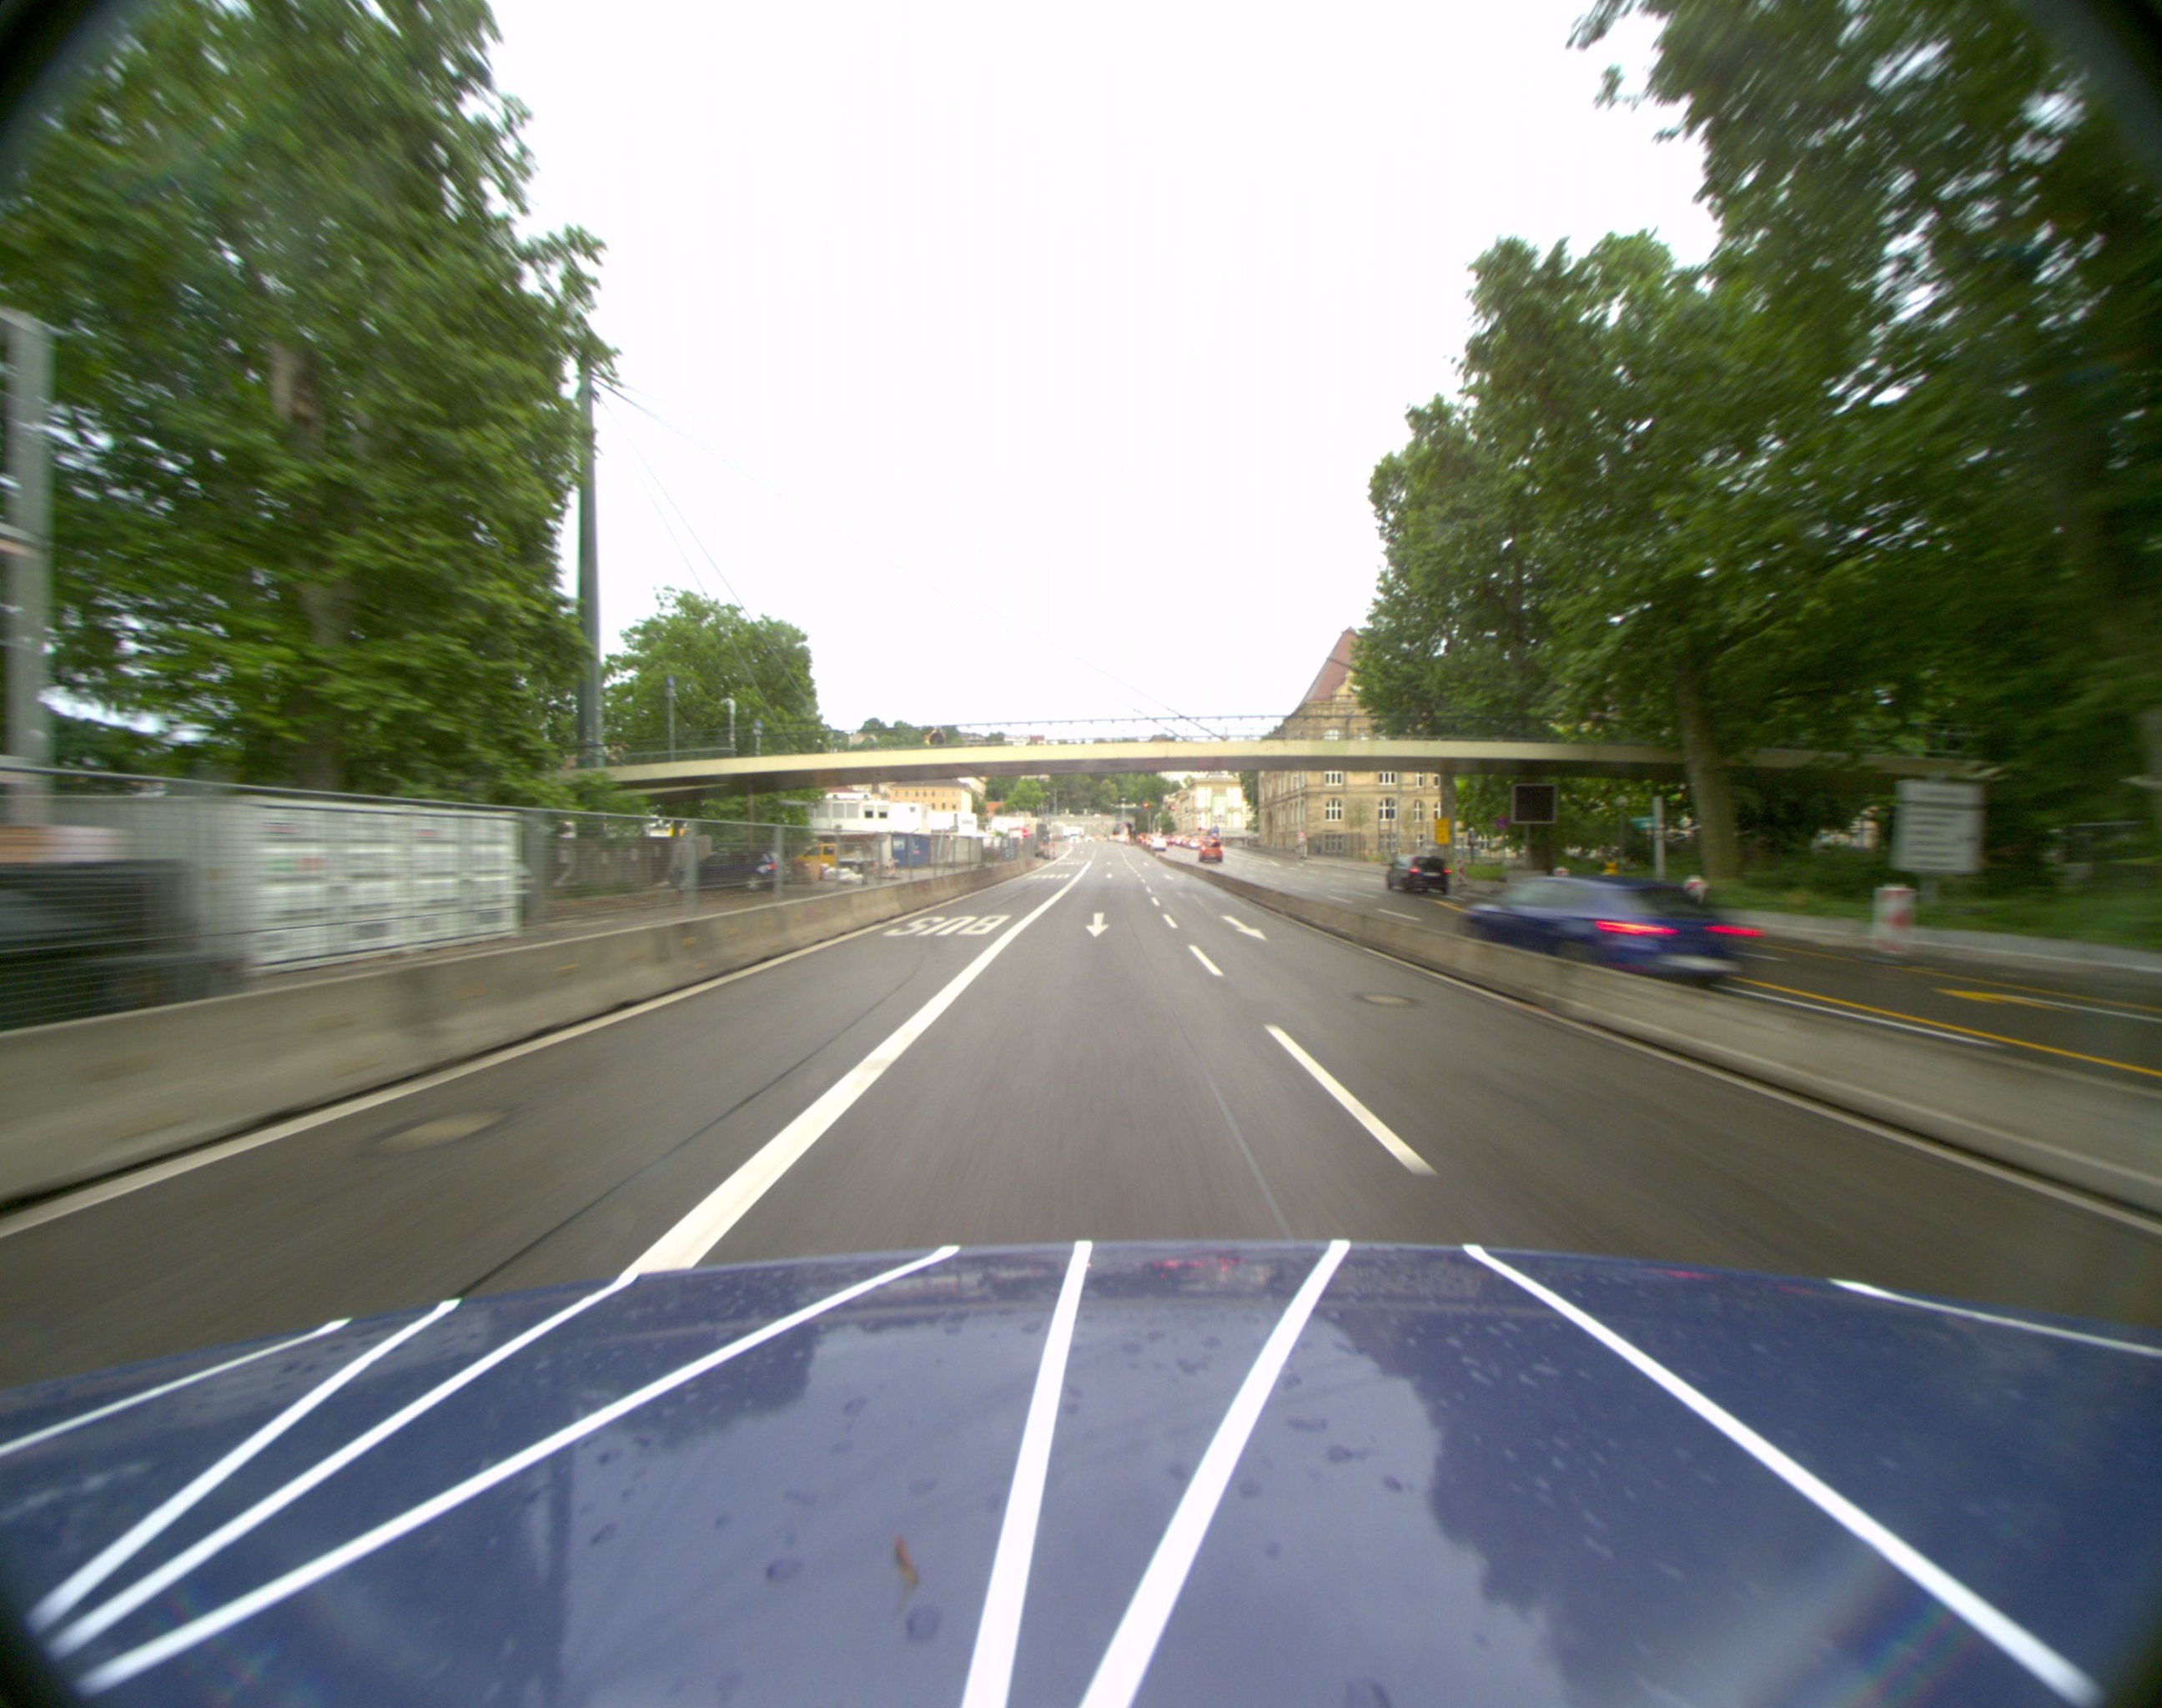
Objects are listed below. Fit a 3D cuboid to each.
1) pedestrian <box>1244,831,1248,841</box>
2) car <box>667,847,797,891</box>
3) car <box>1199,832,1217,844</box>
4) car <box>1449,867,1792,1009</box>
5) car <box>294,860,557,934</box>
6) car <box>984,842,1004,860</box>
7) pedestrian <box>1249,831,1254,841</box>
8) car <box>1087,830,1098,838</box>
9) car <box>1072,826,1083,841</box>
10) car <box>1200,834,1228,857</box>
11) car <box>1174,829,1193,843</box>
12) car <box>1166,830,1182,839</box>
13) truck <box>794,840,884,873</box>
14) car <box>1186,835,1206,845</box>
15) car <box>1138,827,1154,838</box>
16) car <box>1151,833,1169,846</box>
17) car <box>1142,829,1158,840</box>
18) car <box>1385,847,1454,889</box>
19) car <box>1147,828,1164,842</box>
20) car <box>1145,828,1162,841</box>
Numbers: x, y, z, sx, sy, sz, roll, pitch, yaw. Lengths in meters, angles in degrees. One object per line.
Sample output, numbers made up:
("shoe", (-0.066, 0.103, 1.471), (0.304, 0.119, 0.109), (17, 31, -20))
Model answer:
("pedestrian", (27.825, -3.080, 128.065), (0.618, 1.576, 0.734), (2, 3, 2))
("car", (-14.680, 0.607, 32.163), (4.511, 1.718, 1.999), (-1, 2, -3))
("car", (22.158, -2.792, 132.489), (2.000, 2.003, 3.995), (1, 3, -6))
("car", (6.924, 0.966, 10.399), (1.716, 1.331, 4.060), (3, 1, -1))
("car", (-15.166, 0.959, 17.764), (4.554, 1.619, 1.787), (0, 0, 0))
("car", (-8.779, -0.352, 77.010), (1.856, 1.477, 3.994), (1, 5, -5))
("pedestrian", (28.679, -3.014, 127.744), (0.618, 1.576, 0.734), (1, 3, -5))
("car", (2.614, -4.541, 169.781), (2.000, 1.562, 3.995), (1, 3, -7))
("car", (-0.997, -6.124, 224.268), (2.836, 3.992, 8.722), (2, 3, 2))
("car", (12.365, -0.829, 71.118), (2.035, 1.926, 5.043), (2, 3, 4))
("car", (16.178, -2.868, 120.267), (2.000, 2.003, 3.995), (1, 3, -6))
("car", (15.434, -3.273, 126.183), (1.999, 1.375, 4.209), (1, 3, -2))
("truck", (-15.788, 0.118, 49.811), (5.169, 2.003, 2.407), (0, 3, -5))
("car", (16.925, -2.111, 112.291), (1.999, 1.375, 4.208), (1, 3, -4))
("car", (10.967, -3.650, 128.315), (1.999, 1.559, 5.378), (2, 3, -1))
("car", (10.517, -1.972, 101.690), (1.898, 1.559, 4.896), (2, 3, 0))
("car", (11.158, -3.149, 122.551), (1.999, 1.494, 4.819), (2, 3, -1))
("car", (14.262, 0.541, 32.257), (2.033, 1.643, 4.324), (1, 0, 16))
("car", (10.648, -2.758, 108.701), (1.914, 1.856, 4.376), (2, 3, 0))
("car", (10.911, -2.951, 115.144), (1.998, 1.856, 5.592), (2, 3, 0))
